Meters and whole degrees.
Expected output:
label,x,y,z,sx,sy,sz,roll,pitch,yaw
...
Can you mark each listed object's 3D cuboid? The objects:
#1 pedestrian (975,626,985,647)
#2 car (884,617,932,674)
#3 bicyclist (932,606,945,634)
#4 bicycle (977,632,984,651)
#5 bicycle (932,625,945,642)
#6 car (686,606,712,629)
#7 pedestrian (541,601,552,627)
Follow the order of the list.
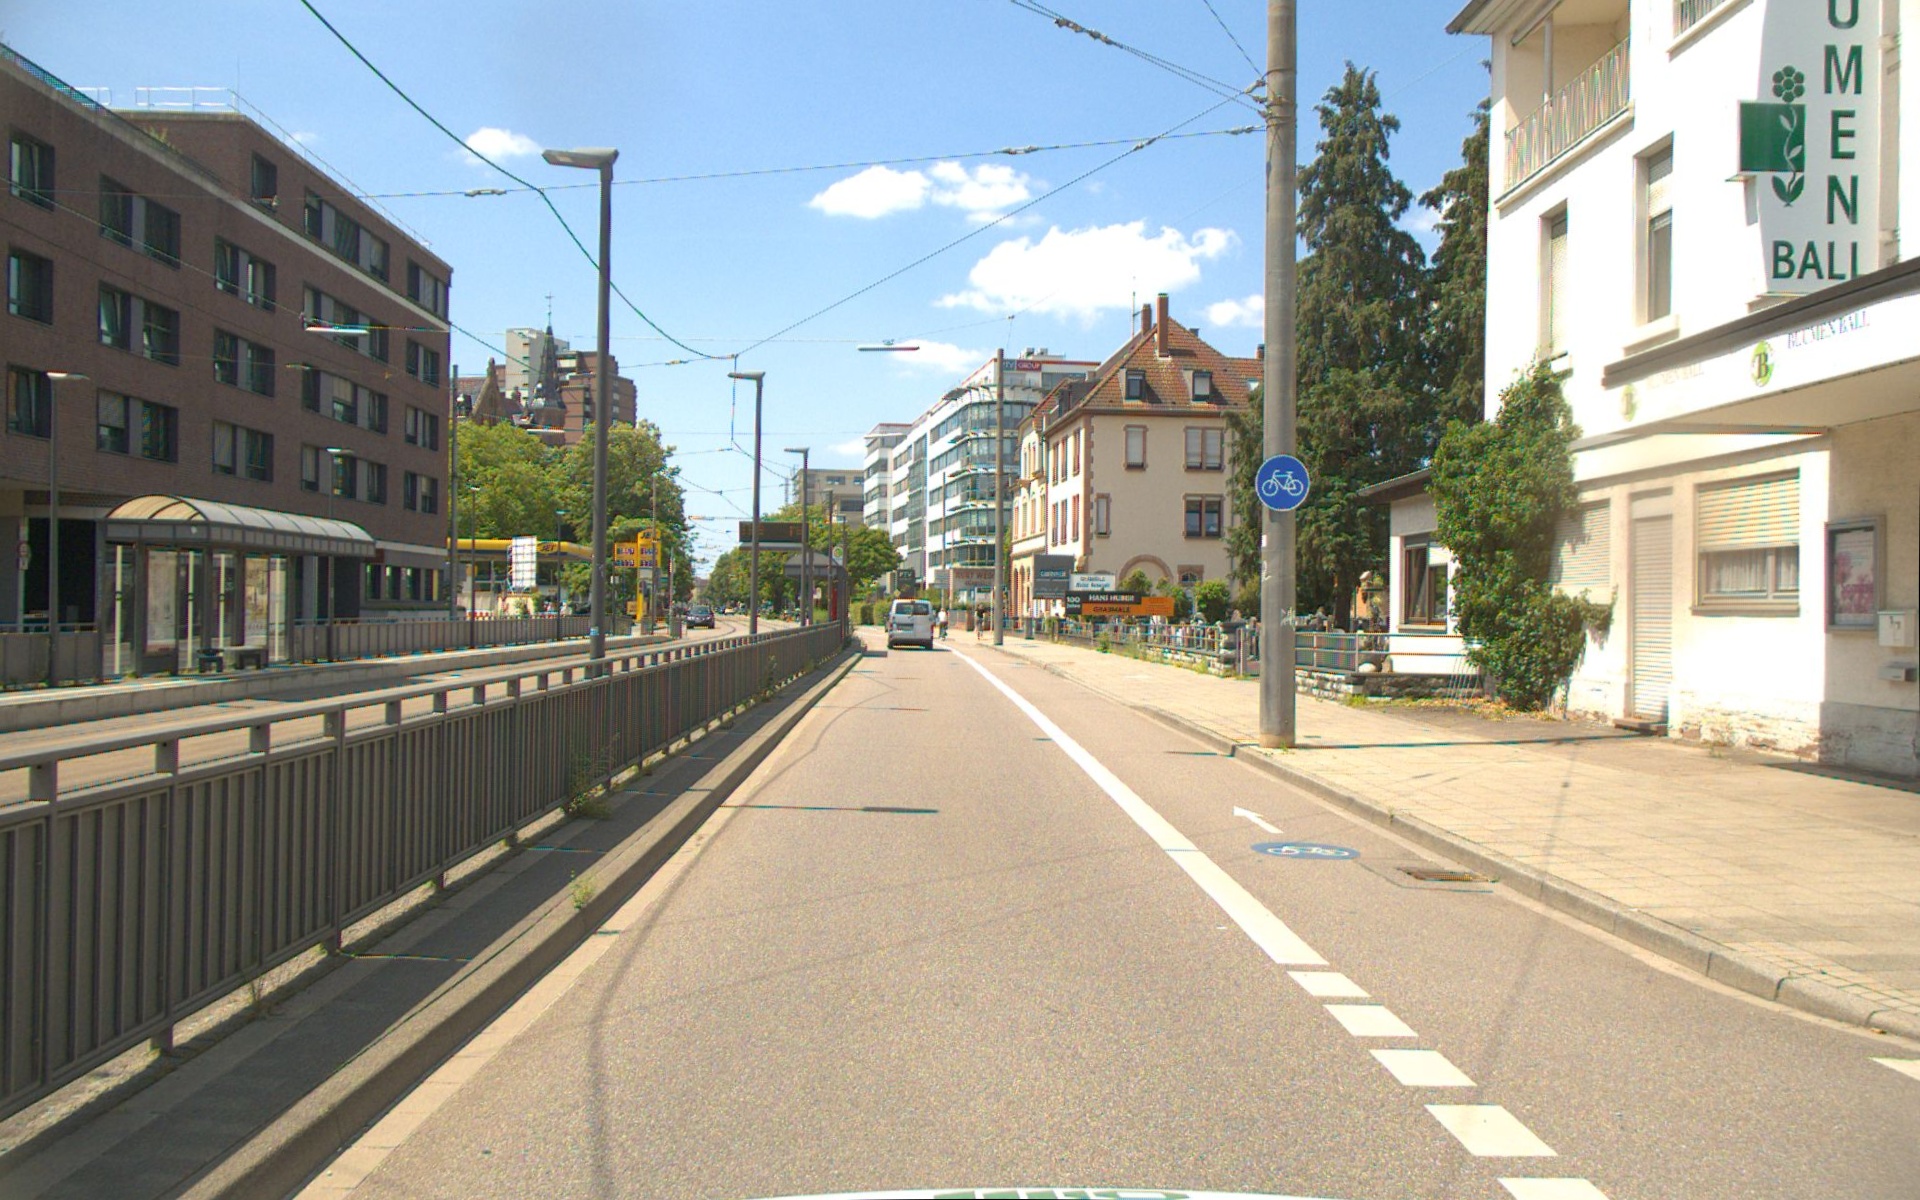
label,x,y,z,sx,sy,sz,roll,pitch,yaw
pedestrian,1.054,1.914,86.257,0.473,1.072,0.536,-1,-2,-1
car,-1.993,1.694,62.774,1.717,2.049,3.997,0,0,-3
bicyclist,-1.092,1.045,85.224,0.580,1.421,0.840,1,-1,-6
bicycle,1.067,2.172,86.210,0.349,0.957,1.317,-1,-2,-1
bicycle,-1.128,1.723,85.386,0.457,0.903,2.045,1,-1,-6
car,-19.289,1.311,122.223,1.666,1.644,3.753,1,-1,-6
pedestrian,-27.626,0.933,110.391,0.541,1.687,0.672,1,-1,-2
